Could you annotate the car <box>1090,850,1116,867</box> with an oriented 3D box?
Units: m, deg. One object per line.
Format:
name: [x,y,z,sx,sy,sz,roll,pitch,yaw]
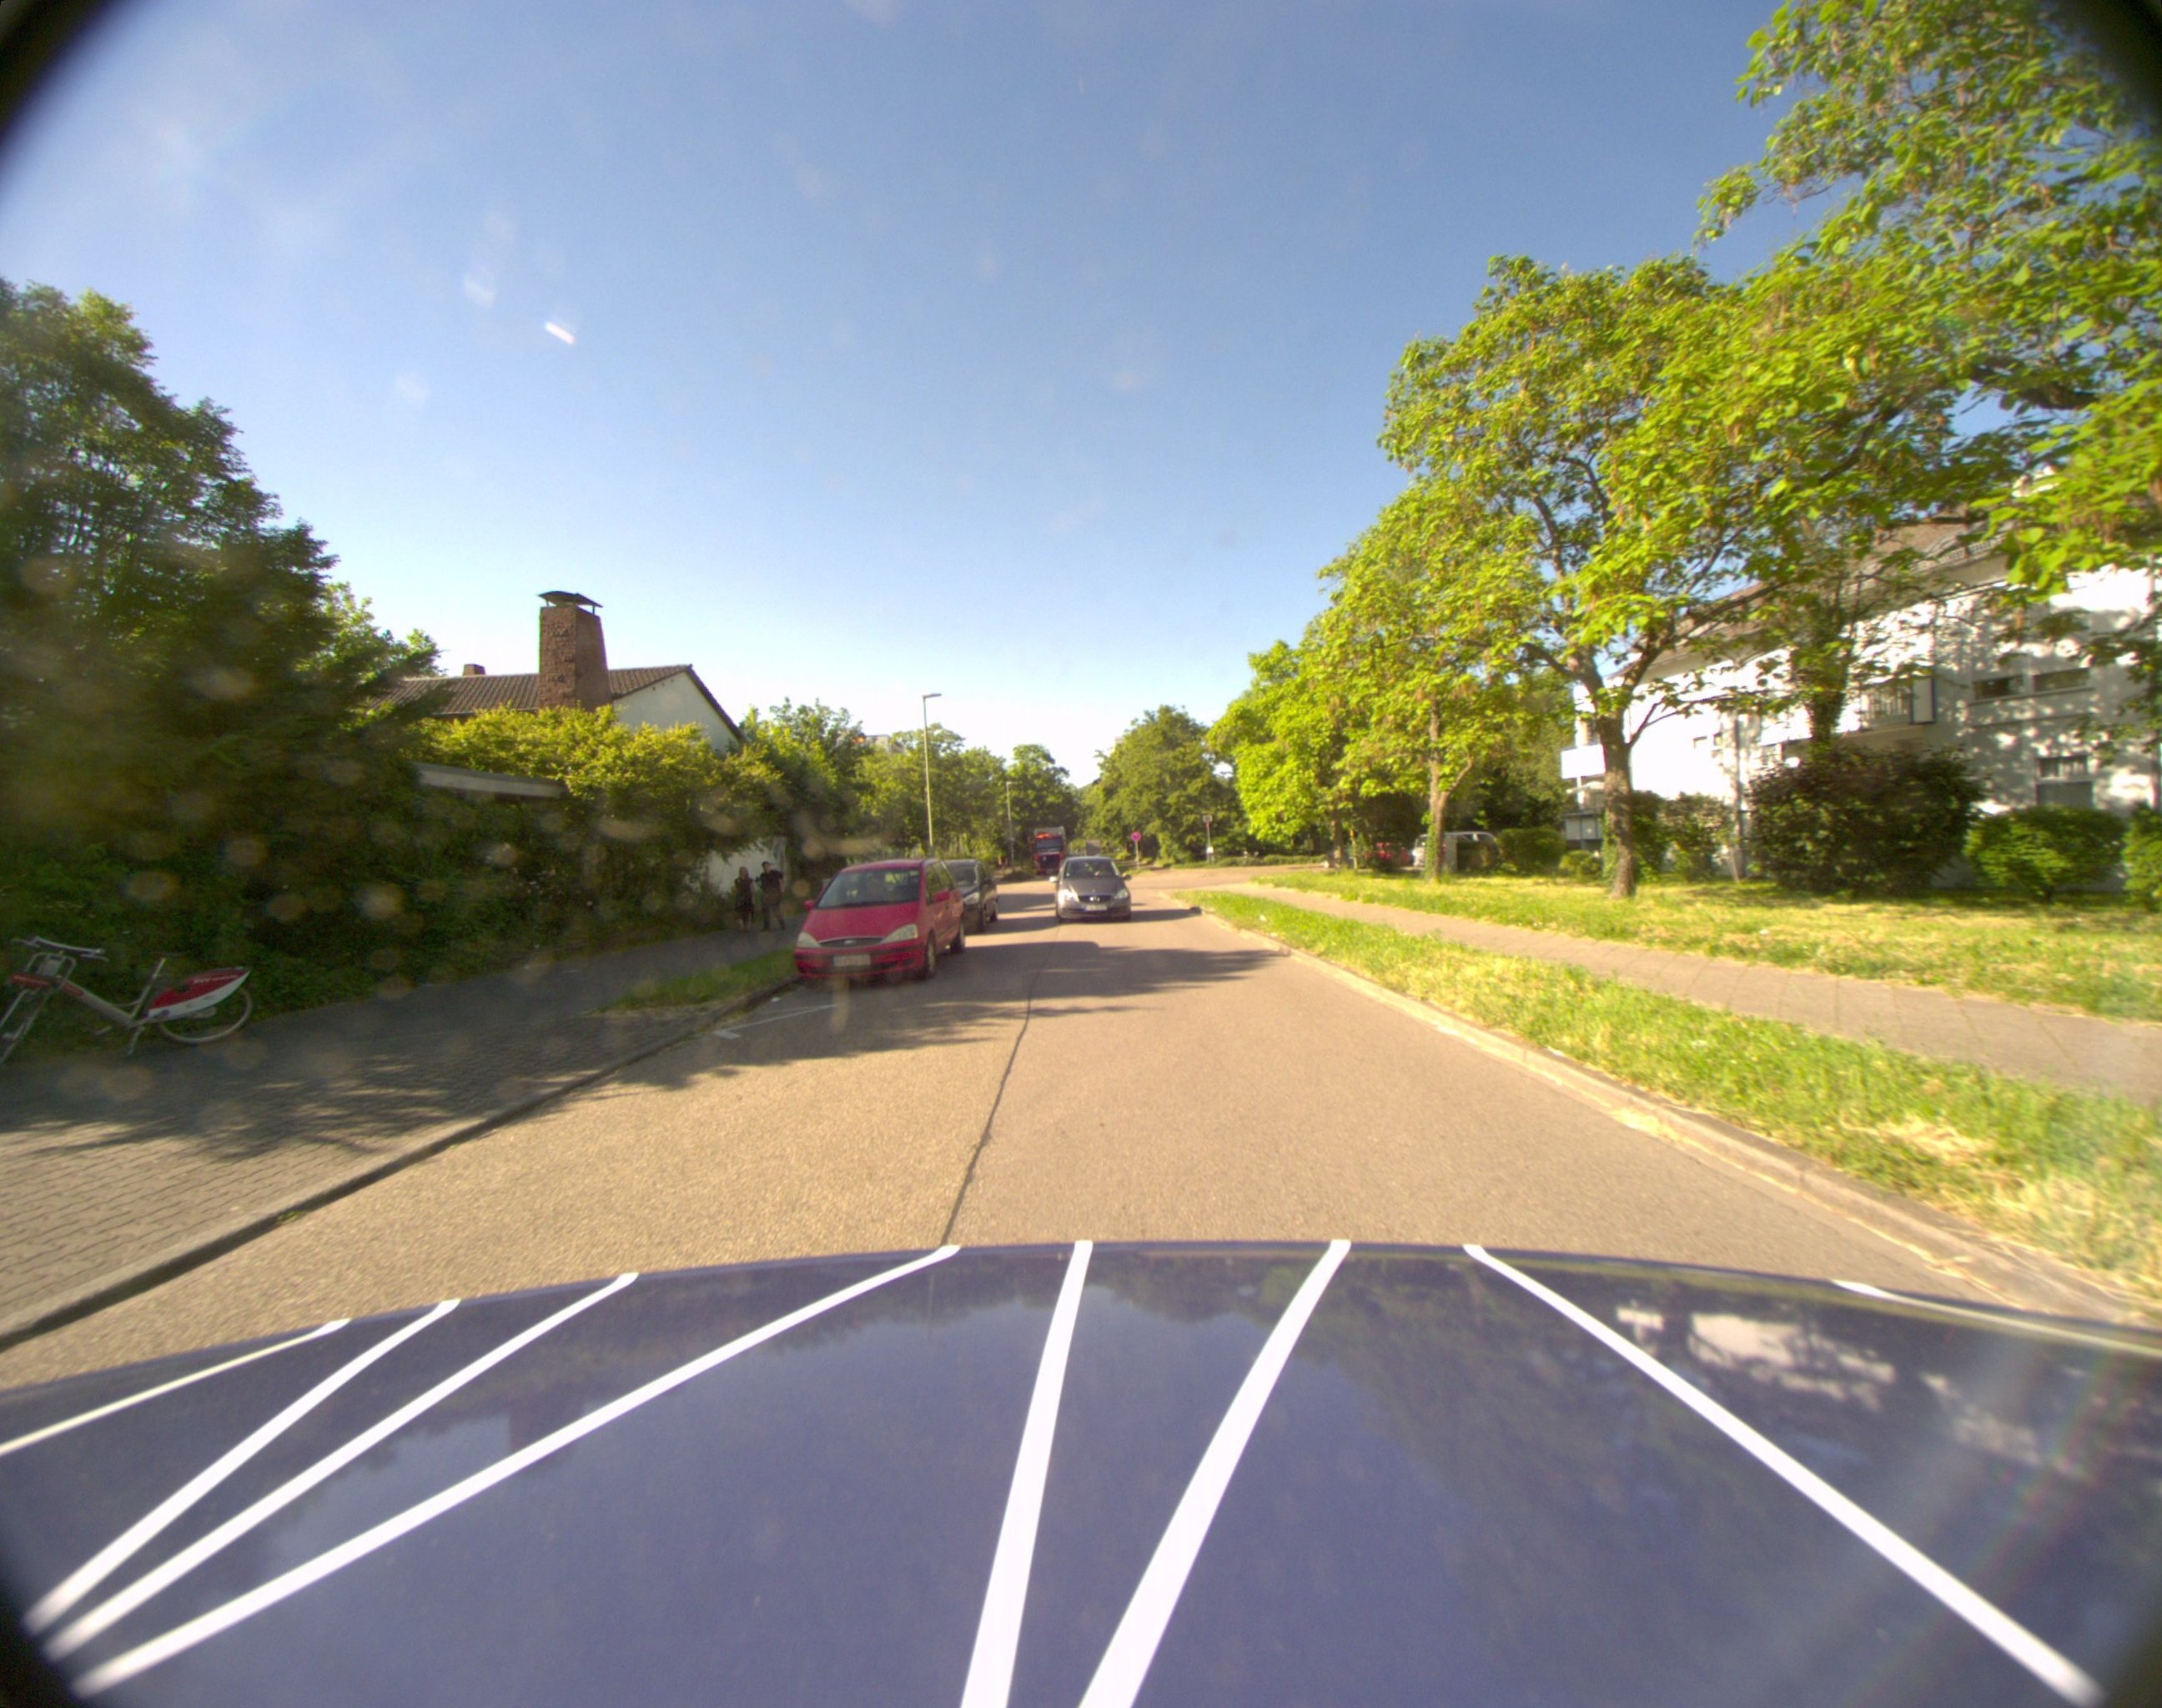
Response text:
car: [2.052,0.404,71.548,1.667,1.458,4.184,-1,2,-9]

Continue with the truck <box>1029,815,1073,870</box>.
truck: [-2.482,-0.970,67.230,3.166,4.320,10.582,-3,1,1]

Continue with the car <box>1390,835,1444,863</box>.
car: [21.530,-0.369,48.876,1.674,1.594,3.884,-3,2,-1]

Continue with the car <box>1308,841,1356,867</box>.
car: [15.857,-0.032,48.222,1.674,1.479,3.884,-3,2,-1]

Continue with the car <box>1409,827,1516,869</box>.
car: [19.690,-0.274,39.352,4.461,1.957,2.069,-2,0,3]

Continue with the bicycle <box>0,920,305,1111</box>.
bicycle: [-8.159,1.284,6.544,0.721,1.214,1.898,0,2,16]

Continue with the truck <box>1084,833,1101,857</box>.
truck: [2.001,-1.617,131.061,2.803,3.996,9.623,-1,2,1]

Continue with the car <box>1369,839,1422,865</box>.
car: [19.690,-0.153,47.751,1.674,1.479,3.884,-3,2,-1]

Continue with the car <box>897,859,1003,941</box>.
car: [-3.014,0.989,18.371,1.729,1.647,4.352,-3,0,0]

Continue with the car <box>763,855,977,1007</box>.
car: [-2.939,0.967,11.751,1.844,1.795,4.653,-3,0,1]

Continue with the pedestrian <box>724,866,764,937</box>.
pedestrian: [-7.961,1.098,17.991,0.574,1.600,0.792,-1,2,-3]

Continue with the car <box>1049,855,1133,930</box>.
car: [0.230,0.888,19.339,1.855,1.635,3.755,-3,0,0]

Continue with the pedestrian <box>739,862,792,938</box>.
pedestrian: [-7.463,1.058,18.019,0.806,1.707,0.983,-1,2,-3]

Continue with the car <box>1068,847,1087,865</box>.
car: [-0.414,0.214,80.123,1.845,1.795,4.028,-3,1,-2]

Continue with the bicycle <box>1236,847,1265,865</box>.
bicycle: [11.827,0.157,53.110,1.902,1.146,0.760,-2,4,10]

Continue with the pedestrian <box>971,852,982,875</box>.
pedestrian: [-7.885,0.715,57.504,0.641,1.629,0.641,-3,1,3]
